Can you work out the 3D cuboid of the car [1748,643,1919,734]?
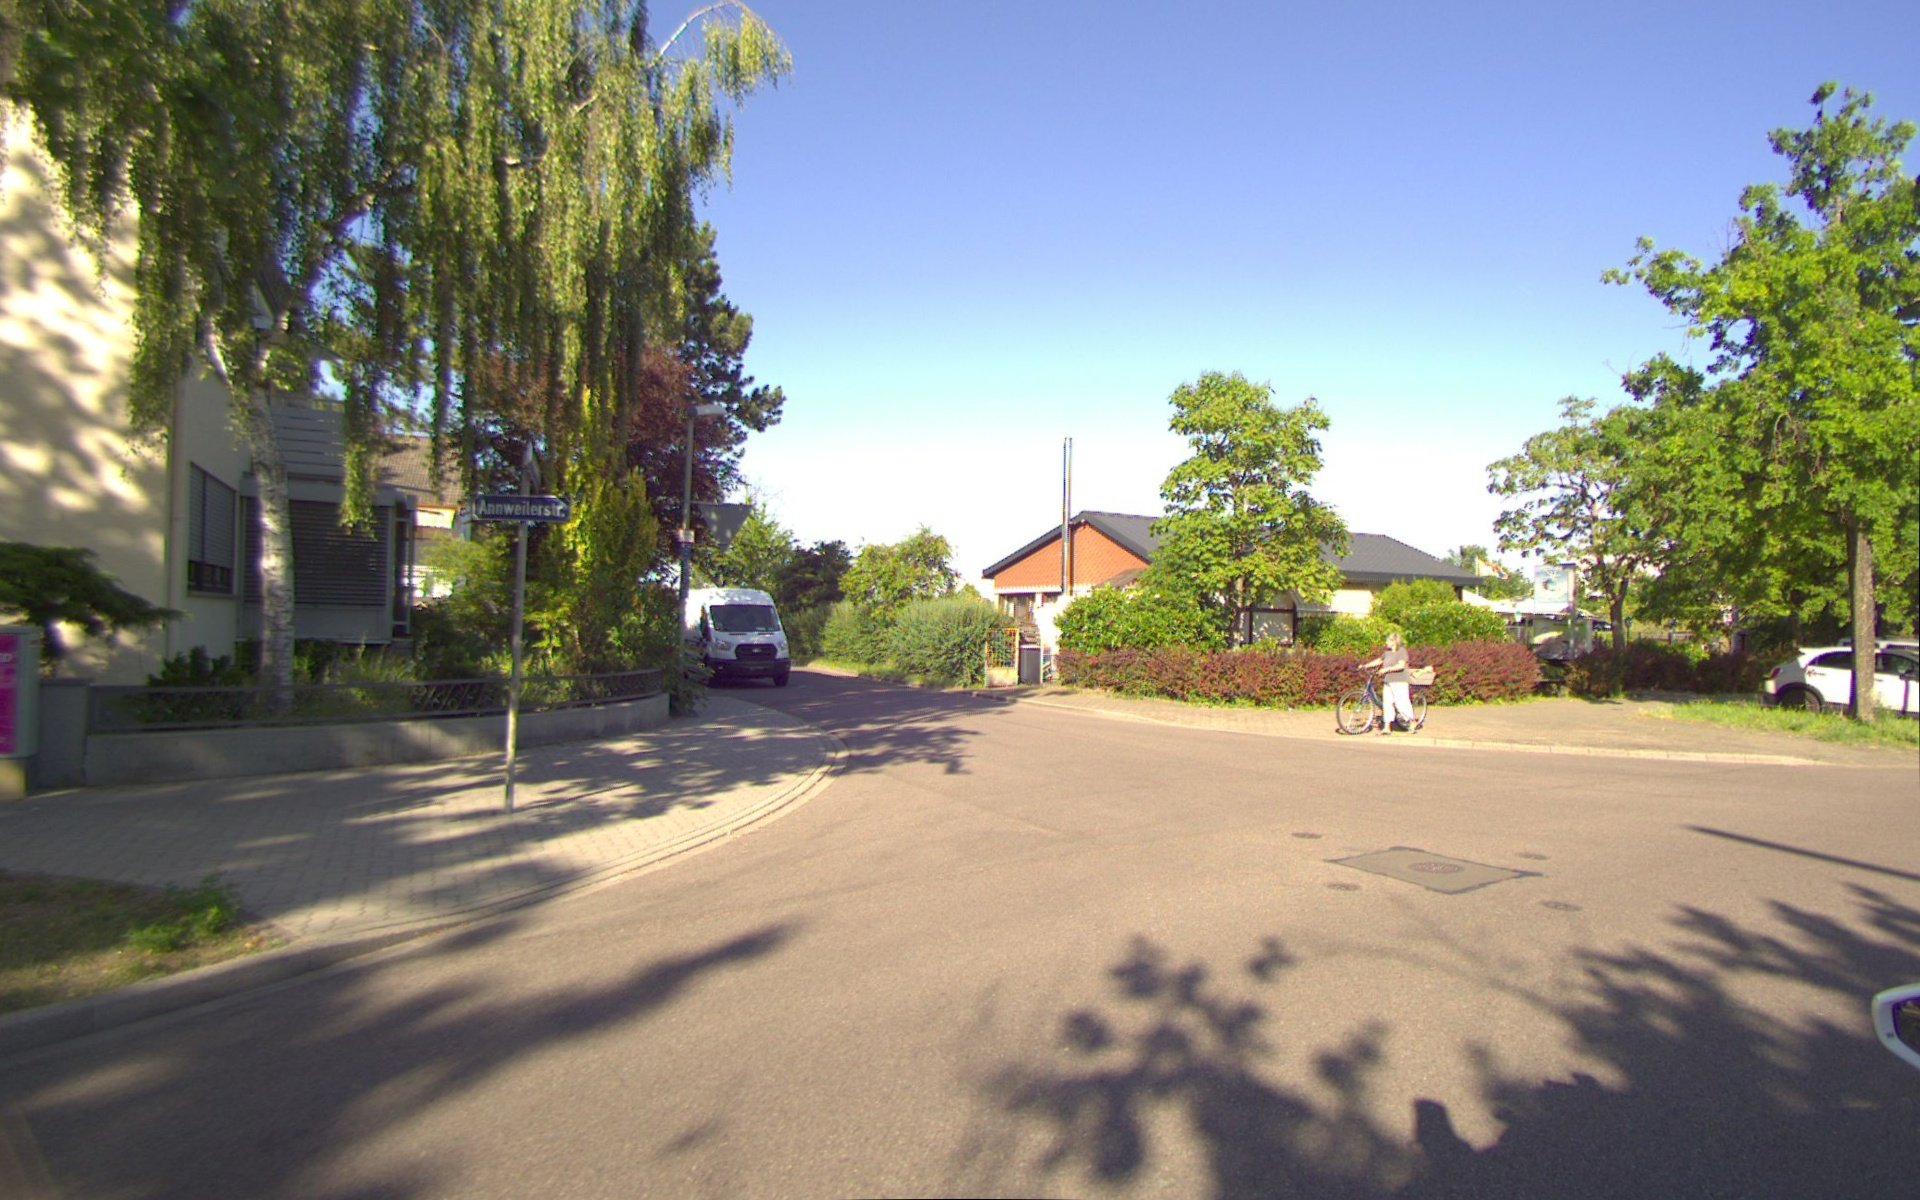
[{"bbox_3d":[18.717,1.760,20.132,1.876,1.644,4.220,3,-2,-31],"label":"car"}]

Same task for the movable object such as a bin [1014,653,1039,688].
[{"bbox_3d":[1.818,1.923,27.463,0.492,0.949,0.612,1,-1,-18],"label":"movable object such as a bin"}]

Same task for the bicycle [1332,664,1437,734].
[{"bbox_3d":[6.786,1.560,16.027,1.869,1.053,0.445,2,-1,-28],"label":"bicycle"}]

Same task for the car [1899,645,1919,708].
[{"bbox_3d":[27.224,2.062,25.962,1.875,1.669,3.995,2,-1,-31],"label":"car"}]

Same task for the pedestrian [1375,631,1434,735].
[{"bbox_3d":[6.957,1.295,15.723,0.791,1.577,0.439,3,-2,-29],"label":"pedestrian"}]

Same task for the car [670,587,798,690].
[{"bbox_3d":[-6.040,0.972,26.284,1.974,2.380,5.598,3,-2,-26],"label":"car"}]

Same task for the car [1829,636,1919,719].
[{"bbox_3d":[23.032,1.820,23.296,1.875,1.864,3.995,2,-1,-31],"label":"car"}]
